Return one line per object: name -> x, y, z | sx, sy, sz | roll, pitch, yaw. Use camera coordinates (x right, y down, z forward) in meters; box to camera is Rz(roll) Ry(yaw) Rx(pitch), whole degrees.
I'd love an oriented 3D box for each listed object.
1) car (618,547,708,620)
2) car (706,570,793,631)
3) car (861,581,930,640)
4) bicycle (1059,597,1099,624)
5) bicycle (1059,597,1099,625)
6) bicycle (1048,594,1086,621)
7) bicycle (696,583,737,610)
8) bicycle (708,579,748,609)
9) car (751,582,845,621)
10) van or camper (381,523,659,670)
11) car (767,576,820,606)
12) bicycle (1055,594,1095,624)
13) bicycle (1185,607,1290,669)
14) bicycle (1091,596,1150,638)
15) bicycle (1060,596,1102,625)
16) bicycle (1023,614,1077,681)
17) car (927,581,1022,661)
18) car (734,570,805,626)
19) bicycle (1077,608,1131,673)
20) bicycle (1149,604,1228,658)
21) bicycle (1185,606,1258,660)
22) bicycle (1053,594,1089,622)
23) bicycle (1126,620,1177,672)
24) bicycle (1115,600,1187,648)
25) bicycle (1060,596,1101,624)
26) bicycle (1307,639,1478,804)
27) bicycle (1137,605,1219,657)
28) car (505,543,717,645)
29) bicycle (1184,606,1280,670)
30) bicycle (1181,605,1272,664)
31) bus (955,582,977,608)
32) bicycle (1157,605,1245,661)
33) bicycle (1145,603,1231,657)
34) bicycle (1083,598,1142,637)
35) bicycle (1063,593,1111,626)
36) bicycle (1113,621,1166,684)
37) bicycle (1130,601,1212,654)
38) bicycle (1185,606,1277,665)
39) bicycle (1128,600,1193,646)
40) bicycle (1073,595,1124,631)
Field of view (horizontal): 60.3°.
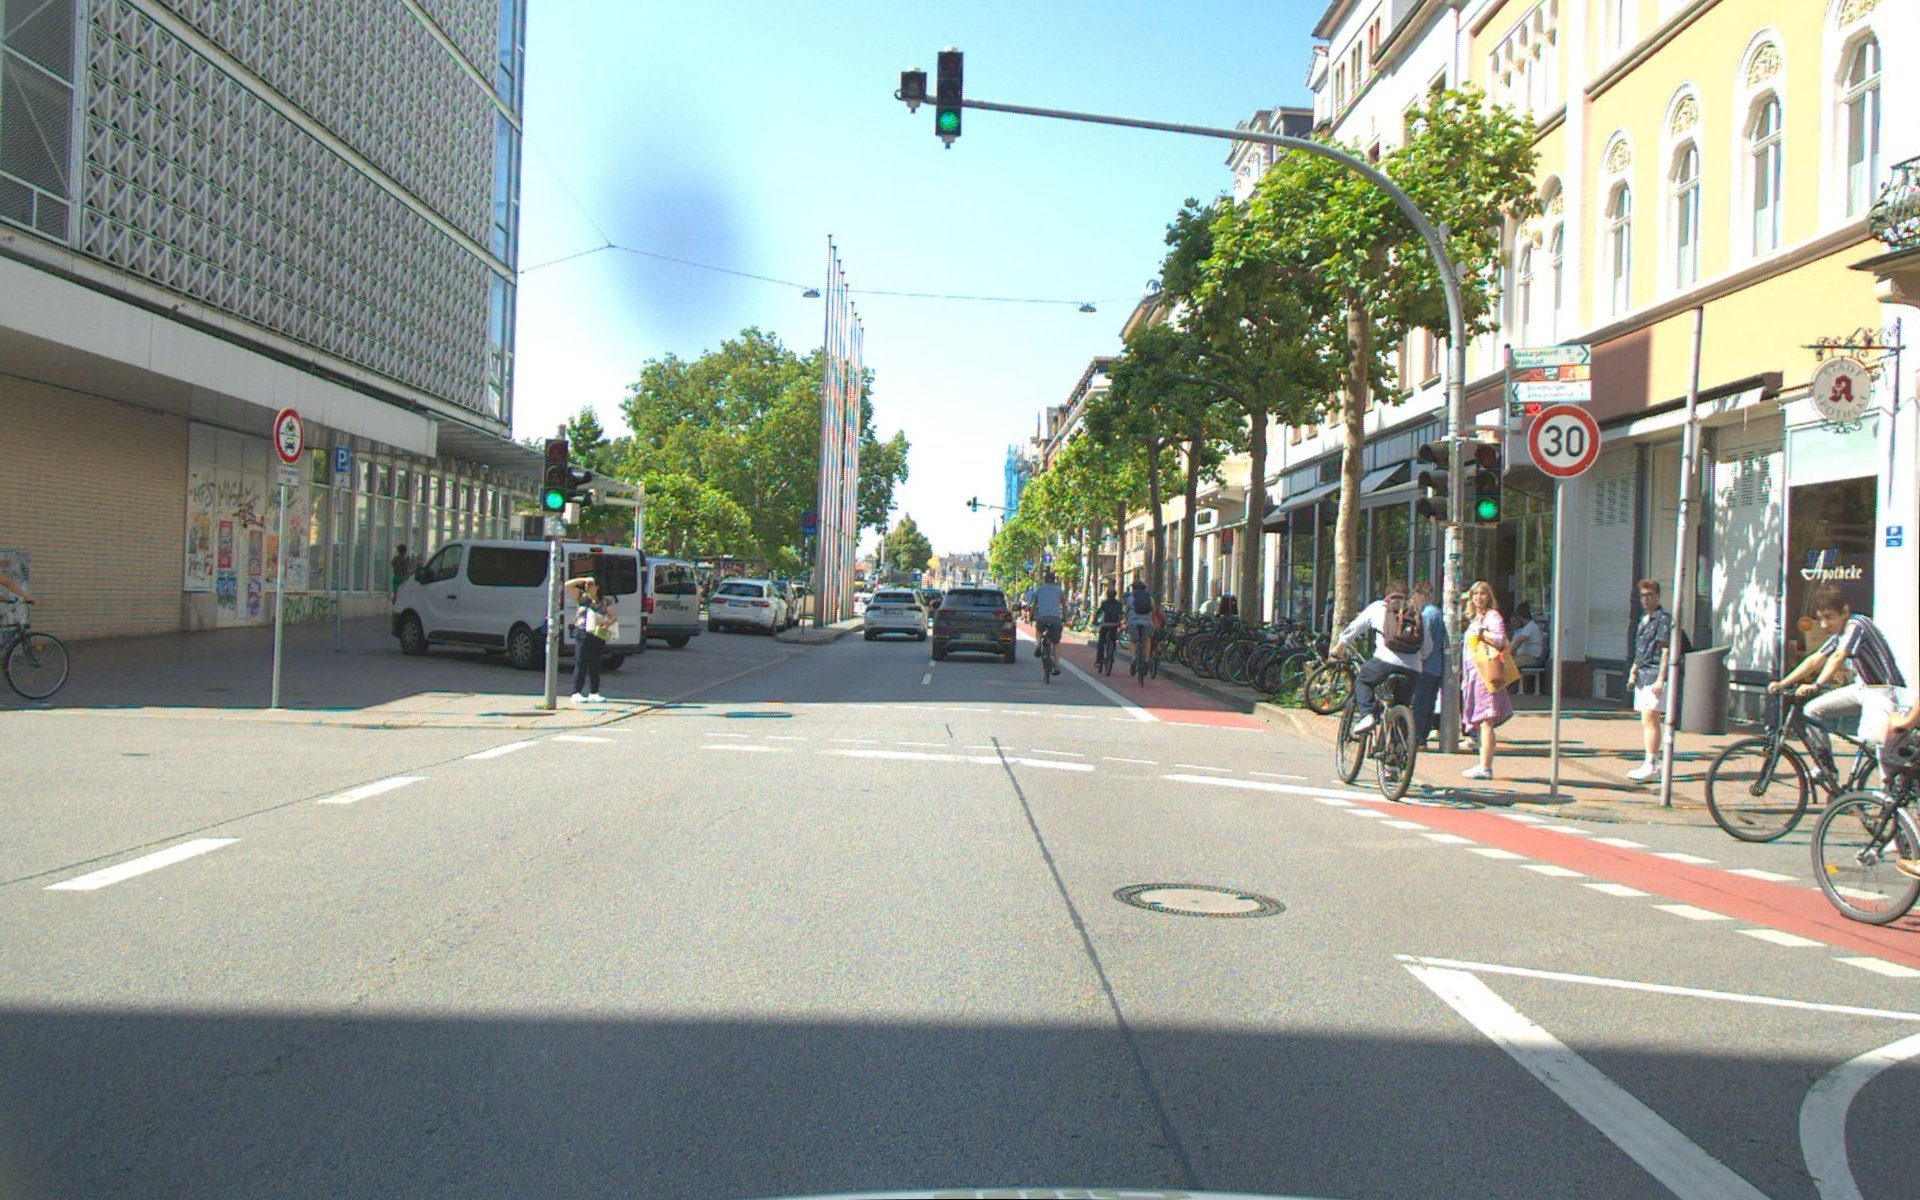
car -> -8.919, -0.502, 50.016 | 1.794, 2.049, 4.685 | 2, 0, 0
car -> -5.860, -0.023, 46.568 | 1.762, 1.549, 4.739 | 3, 1, 0
car -> -1.812, 0.280, 47.553 | 1.808, 1.587, 4.000 | 1, 0, 0
bicycle -> 5.128, 0.449, 71.226 | 1.692, 1.128, 0.402 | 2, 0, 2
bicycle -> 5.160, 0.465, 71.645 | 1.692, 1.128, 0.477 | 2, 0, 2
bicycle -> 5.154, 0.375, 79.678 | 1.805, 1.222, 0.609 | 2, 0, 2
bicycle -> -11.010, -0.159, 74.857 | 1.746, 1.152, 0.562 | 2, 0, -3
bicycle -> -10.886, -0.271, 77.650 | 1.746, 1.331, 0.662 | 2, 0, -3
car -> -7.160, 0.050, 73.549 | 1.854, 1.568, 4.857 | 3, 2, 26
van or camper -> -7.177, -0.100, 26.776 | 4.574, 2.048, 1.990 | 4, 1, 39
car -> -12.009, -0.606, 119.742 | 1.821, 1.989, 4.761 | 2, 0, 21
bicycle -> 5.071, 0.392, 72.731 | 1.692, 1.238, 0.477 | 2, 0, 2
bicycle -> 5.412, 0.732, 32.200 | 1.943, 1.146, 0.762 | 1, -1, 13
bicycle -> 5.116, 0.535, 52.550 | 1.801, 1.218, 0.674 | 3, 0, 7
bicycle -> 5.105, 0.434, 69.959 | 1.692, 1.128, 0.736 | 2, 0, 2
bicycle -> 1.501, 0.773, 27.844 | 0.758, 1.023, 2.329 | 2, 0, 0
car -> 0.264, 0.402, 35.468 | 1.808, 1.586, 3.998 | 1, 0, -3
car -> -5.982, -0.088, 52.365 | 1.725, 1.628, 4.709 | 2, 0, -1
bicycle -> 2.747, 0.760, 31.692 | 0.684, 1.146, 2.080 | 3, 0, -3
bicycle -> 5.047, 0.686, 36.501 | 1.825, 1.146, 0.586 | 2, -1, -37
bicycle -> 5.778, 0.736, 36.454 | 1.826, 1.147, 0.442 | 2, -2, -38
bicycle -> 5.229, 0.378, 77.954 | 1.615, 1.222, 0.474 | 2, 0, 2
bicycle -> 3.650, 0.859, 31.607 | 0.588, 0.942, 2.086 | -1, -1, -4
bicycle -> 5.141, 0.650, 44.525 | 1.806, 1.146, 0.496 | 4, 1, -8
bicycle -> 5.154, 0.422, 70.812 | 1.692, 1.128, 0.402 | 2, 0, 2
bicycle -> 3.479, 0.941, 13.503 | 0.684, 1.146, 2.080 | 3, 0, -3
bicycle -> 5.214, 0.739, 39.571 | 1.807, 1.112, 0.563 | 3, 0, -11
car -> -7.430, -0.148, 35.054 | 4.359, 1.942, 2.001 | 3, 1, 37
bicycle -> 5.423, 0.754, 32.914 | 1.801, 1.146, 0.530 | 4, -1, 12
bicycle -> 5.500, 0.714, 34.175 | 1.801, 1.146, 0.448 | 2, -1, 2
bus -> 0.833, -0.688, 245.545 | 2.934, 3.657, 11.742 | 2, 0, -1
bicycle -> 5.165, 0.706, 35.473 | 1.805, 1.146, 0.447 | 1, -1, 28
bicycle -> 5.354, 0.703, 38.830 | 1.808, 1.146, 0.763 | 4, -2, -13
bicycle -> 4.949, 0.566, 53.615 | 1.801, 1.146, 0.498 | 3, 0, 11
bicycle -> 5.242, 0.398, 68.479 | 1.891, 1.270, 0.736 | 2, 0, 2
bicycle -> 3.060, 0.874, 28.347 | 0.617, 0.997, 2.088 | 2, 0, -1
bicycle -> 5.117, 0.670, 40.070 | 1.807, 1.146, 0.631 | 4, -1, -11
bicycle -> 5.519, 0.716, 33.715 | 1.801, 1.146, 0.448 | 2, -1, 2
bicycle -> 5.606, 0.644, 46.193 | 1.754, 1.218, 0.572 | 3, 0, -28
bicycle -> 5.132, 0.492, 61.379 | 1.801, 1.206, 0.670 | 3, 0, 5
